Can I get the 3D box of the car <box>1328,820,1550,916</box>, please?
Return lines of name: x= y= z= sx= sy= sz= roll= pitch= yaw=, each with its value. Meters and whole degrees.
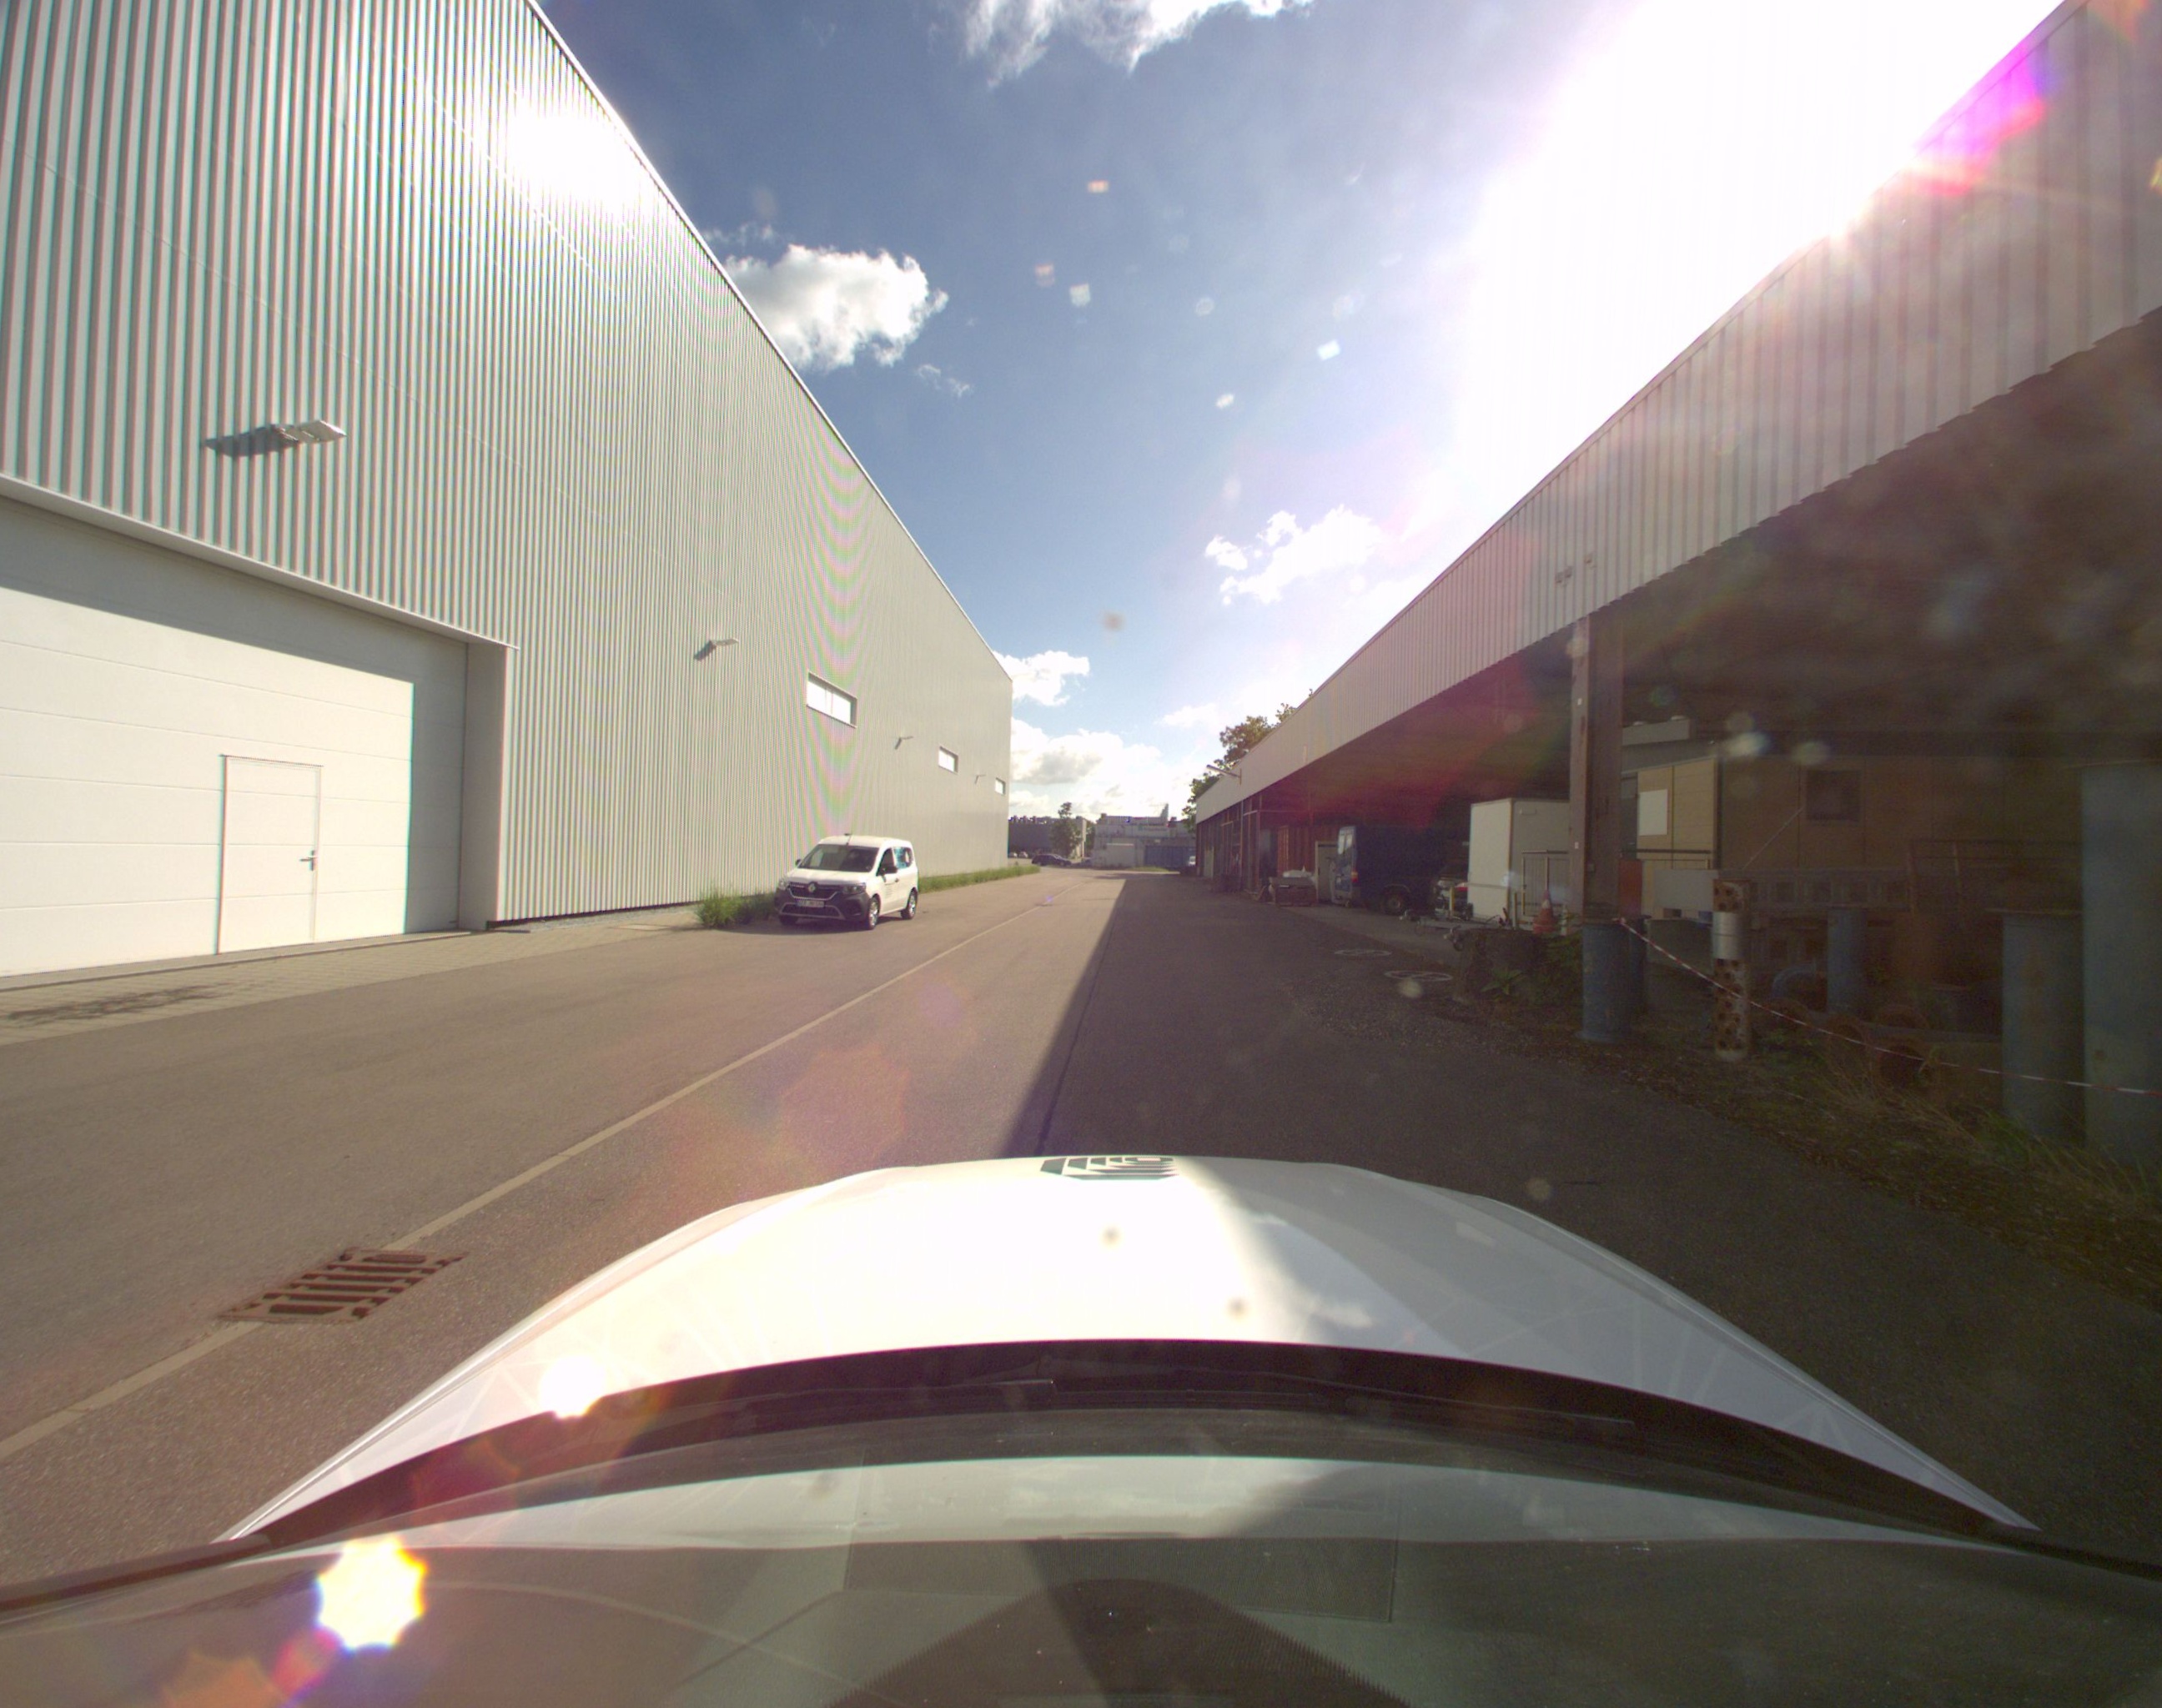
car: x=9.270 y=0.340 z=21.433 sx=4.957 sy=2.325 sz=2.002 roll=1 pitch=0 yaw=3

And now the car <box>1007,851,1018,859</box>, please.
car: x=-16.586 y=0.231 z=196.849 sx=1.985 sy=1.736 sz=4.003 roll=0 pitch=-1 yaw=3

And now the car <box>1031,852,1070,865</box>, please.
car: x=-3.669 y=0.562 z=99.198 sx=4.504 sy=1.508 sz=1.911 roll=0 pitch=0 yaw=5

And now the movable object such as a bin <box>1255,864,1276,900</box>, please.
movable object such as a bin: x=6.167 y=0.917 z=27.272 sx=0.578 sy=1.164 sz=1.241 roll=0 pitch=0 yaw=8

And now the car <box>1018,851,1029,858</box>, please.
car: x=-13.992 y=0.183 z=197.063 sx=2.184 sy=1.736 sz=4.003 roll=0 pitch=-1 yaw=3

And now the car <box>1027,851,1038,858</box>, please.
car: x=-11.559 y=0.119 z=195.226 sx=2.184 sy=1.736 sz=4.003 roll=0 pitch=-1 yaw=3

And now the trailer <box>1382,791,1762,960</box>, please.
trailer: x=7.421 y=0.283 z=12.772 sx=4.785 sy=2.391 sz=1.831 roll=0 pitch=0 yaw=8

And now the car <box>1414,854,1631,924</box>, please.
car: x=9.876 y=0.750 z=18.430 sx=3.975 sy=1.472 sz=1.787 roll=1 pitch=0 yaw=-1

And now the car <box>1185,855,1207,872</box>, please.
car: x=12.062 y=0.938 z=85.618 sx=1.985 sy=1.585 sz=4.176 roll=1 pitch=1 yaw=3

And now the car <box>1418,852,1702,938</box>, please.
car: x=8.866 y=0.731 z=15.345 sx=4.313 sy=1.496 sz=1.777 roll=1 pitch=0 yaw=1

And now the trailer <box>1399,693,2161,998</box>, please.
trailer: x=9.502 y=-0.106 z=10.120 sx=9.995 sy=3.216 sz=2.856 roll=0 pitch=0 yaw=3

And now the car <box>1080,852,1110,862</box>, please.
car: x=2.243 y=0.420 z=126.559 sx=4.505 sy=1.508 sz=1.911 roll=1 pitch=0 yaw=4

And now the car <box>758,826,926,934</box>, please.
car: x=-4.729 y=0.467 z=16.893 sx=1.882 sy=1.845 sz=4.362 roll=3 pitch=0 yaw=3
